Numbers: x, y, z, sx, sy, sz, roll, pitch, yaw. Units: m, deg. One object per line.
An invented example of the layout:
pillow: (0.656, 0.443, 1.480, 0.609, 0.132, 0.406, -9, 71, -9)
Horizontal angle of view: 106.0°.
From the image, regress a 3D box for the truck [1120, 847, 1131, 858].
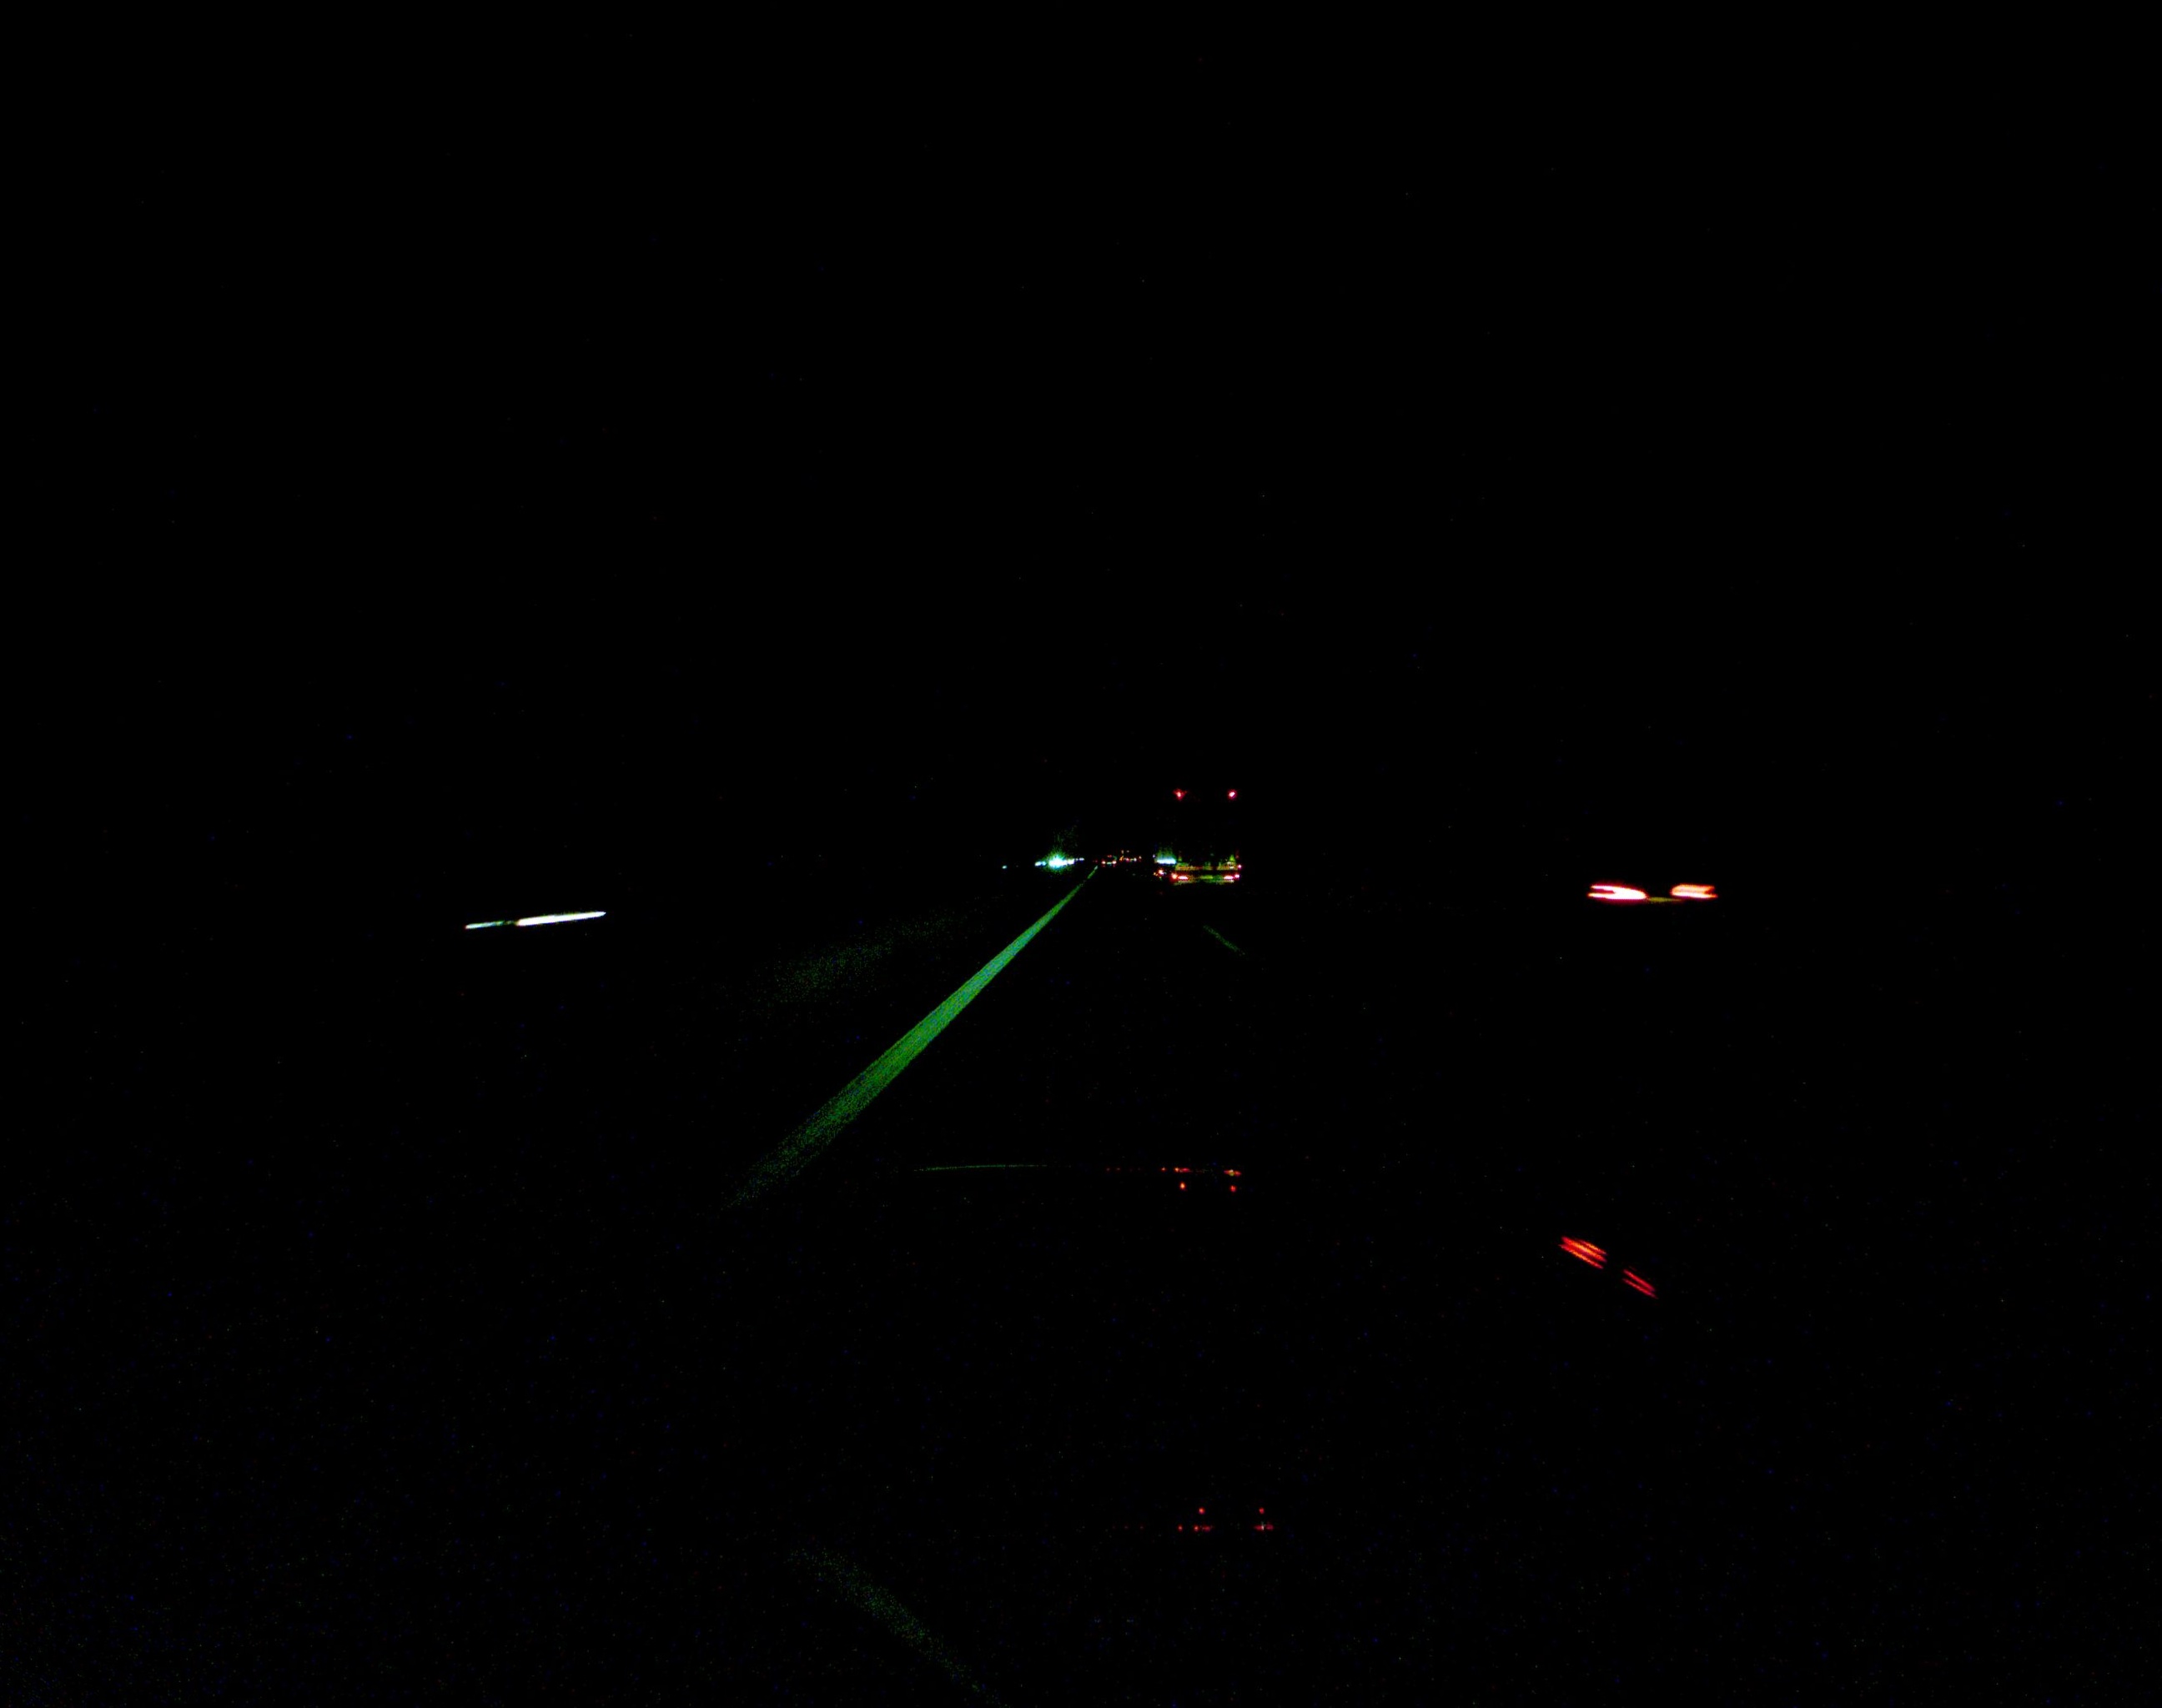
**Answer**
truck: (13.940, -0.362, 258.400, 3.034, 3.325, 10.141, 0, 0, 1)

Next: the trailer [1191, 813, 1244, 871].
trailer: (10.156, -0.826, 61.616, 2.581, 4.072, 10.011, 0, 0, 1)

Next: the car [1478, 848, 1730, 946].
car: (8.881, 0.647, 14.347, 1.814, 1.466, 4.249, 0, 0, 2)

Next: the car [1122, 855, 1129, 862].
car: (8.925, 0.895, 163.394, 1.341, 1.387, 3.501, 0, 0, 1)

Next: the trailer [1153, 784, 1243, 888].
trailer: (5.321, -0.701, 39.663, 2.732, 4.206, 13.514, 0, 0, 1)

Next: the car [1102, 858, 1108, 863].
car: (7.353, 1.919, 252.702, 1.815, 1.466, 4.248, 0, 0, 1)

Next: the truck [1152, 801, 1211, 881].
truck: (5.582, -0.676, 46.173, 2.652, 4.206, 6.724, 0, 0, 1)

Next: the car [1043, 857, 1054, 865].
car: (-6.557, 1.321, 162.505, 1.744, 1.478, 4.765, -4, 0, 2)

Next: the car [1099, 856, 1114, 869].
car: (3.025, 0.979, 97.385, 1.815, 1.466, 4.248, 0, 0, 1)

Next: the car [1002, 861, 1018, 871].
car: (-10.814, 1.814, 124.634, 1.744, 1.478, 4.943, -4, 0, 1)

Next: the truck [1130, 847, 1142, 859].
truck: (12.507, -0.200, 184.296, 2.071, 2.691, 7.303, 0, -1, -1)

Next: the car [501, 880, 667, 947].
car: (-14.059, 1.610, 23.421, 1.815, 1.466, 4.560, -5, 0, 1)
